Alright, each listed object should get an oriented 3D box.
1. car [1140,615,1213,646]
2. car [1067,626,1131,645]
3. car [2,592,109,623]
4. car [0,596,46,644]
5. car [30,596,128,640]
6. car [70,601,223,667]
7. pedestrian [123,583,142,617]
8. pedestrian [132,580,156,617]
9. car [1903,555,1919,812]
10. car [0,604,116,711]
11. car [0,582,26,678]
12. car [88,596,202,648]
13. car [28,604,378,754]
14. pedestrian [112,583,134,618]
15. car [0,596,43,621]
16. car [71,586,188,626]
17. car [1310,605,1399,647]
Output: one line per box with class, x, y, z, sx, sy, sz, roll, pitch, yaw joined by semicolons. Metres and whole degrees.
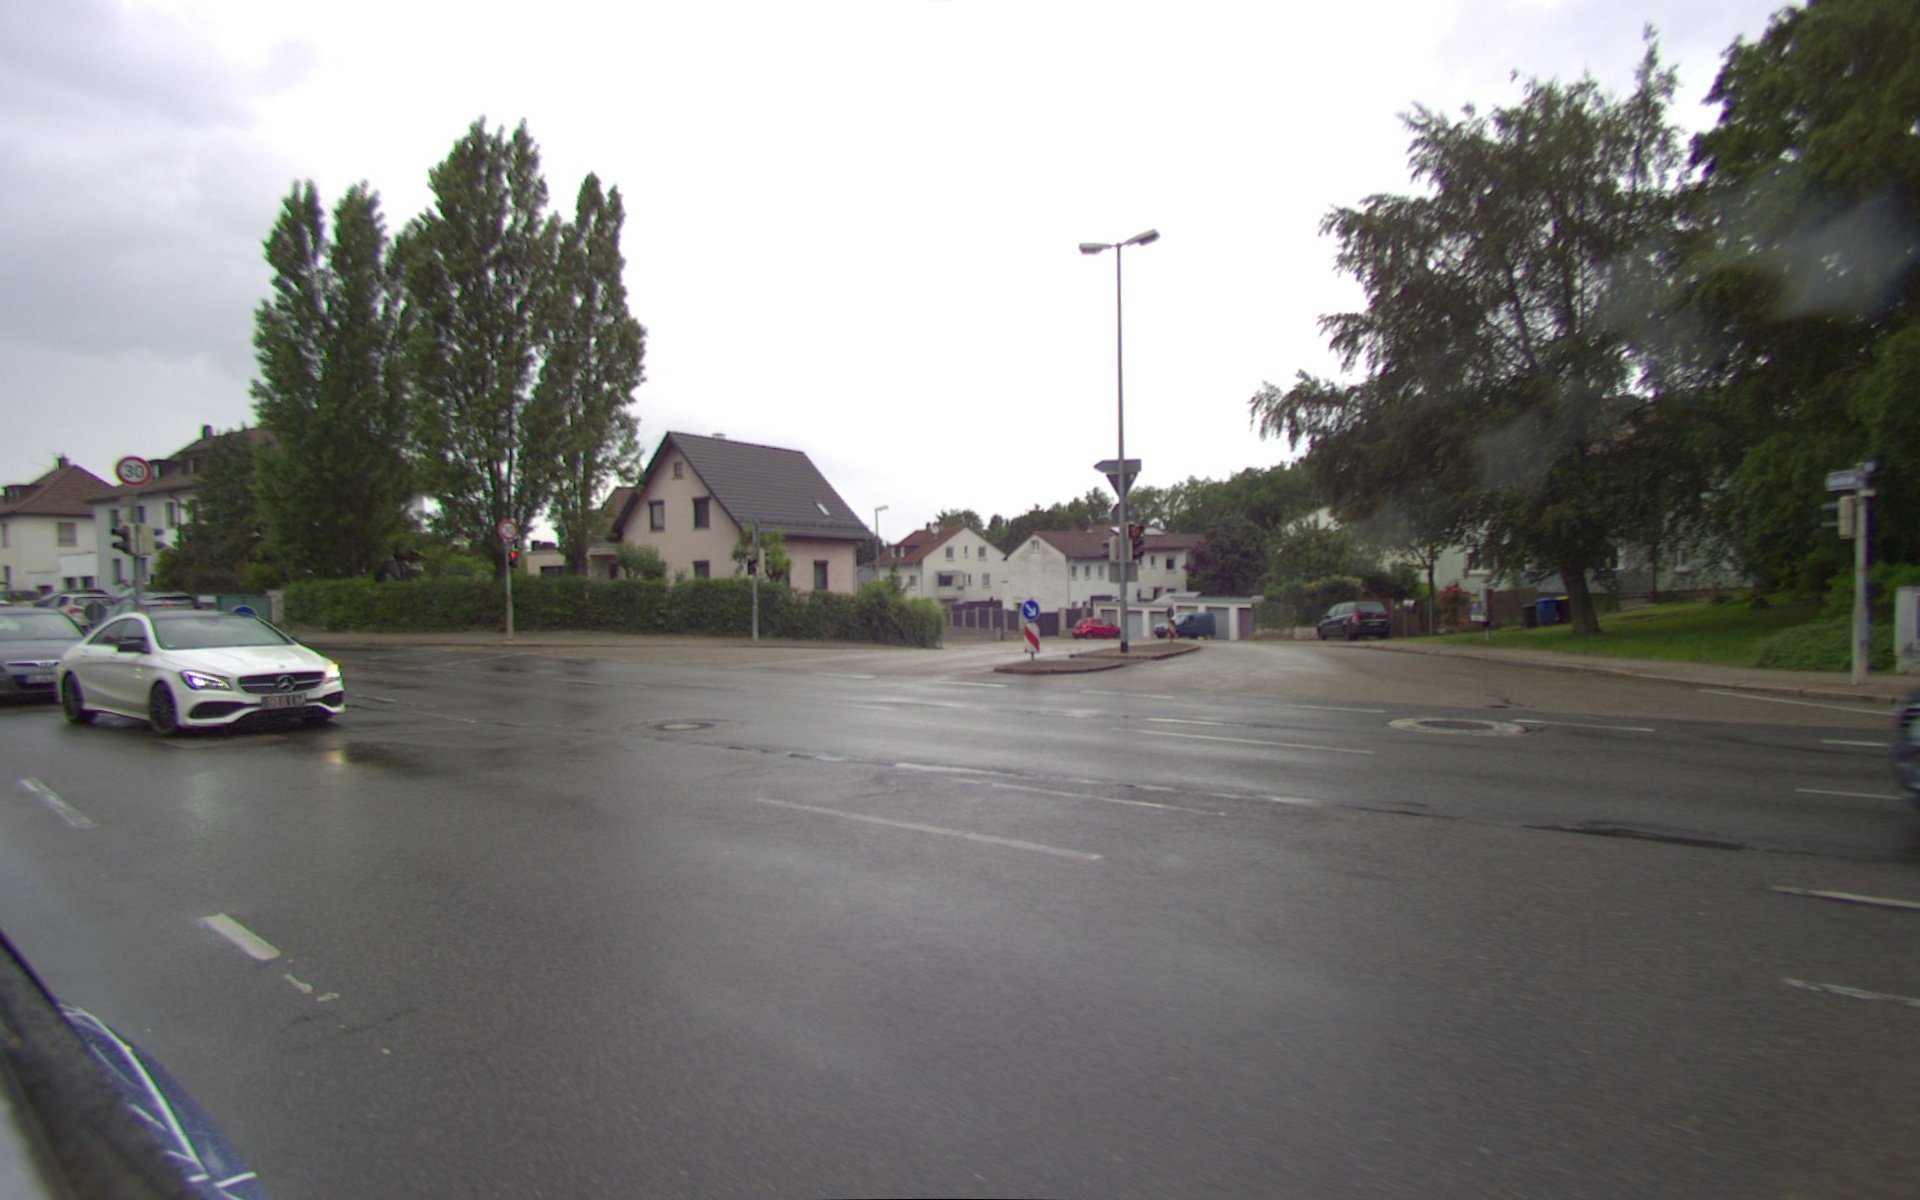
car;13.511;1.854;63.100;4.022;1.863;1.945;0;-1;-21
car;9.735;2.457;70.751;4.022;1.298;1.914;0;-1;-24
car;-49.106;0.399;55.004;1.878;1.430;3.957;0;3;32
car;-33.499;0.654;34.968;4.759;1.568;1.820;1;0;35
car;-33.820;0.653;38.830;4.130;1.580;1.790;1;1;33
car;-21.453;0.836;26.660;3.987;1.586;1.978;1;0;33
pedestrian;-44.910;0.005;54.904;0.643;1.800;0.649;-4;2;-34
pedestrian;-42.808;-0.101;53.111;0.685;1.880;0.726;0;4;38
car;7.362;0.493;4.543;4.377;1.564;1.824;-1;-1;37
car;-15.068;0.834;16.056;4.054;1.498;1.817;0;0;39
car;-20.987;0.584;20.661;4.737;1.885;1.934;0;0;36
car;-28.587;0.708;35.448;4.584;1.682;1.790;1;1;33
car;-9.542;0.841;12.668;4.634;1.540;1.895;0;0;31
pedestrian;-43.732;0.009;52.873;0.538;1.801;0.663;0;4;36
car;-57.696;0.525;60.382;1.878;1.430;4.068;0;2;32
car;-40.705;0.274;49.695;1.867;1.575;3.957;-1;5;33
car;16.996;1.117;43.849;1.909;1.717;4.200;0;-1;-5
